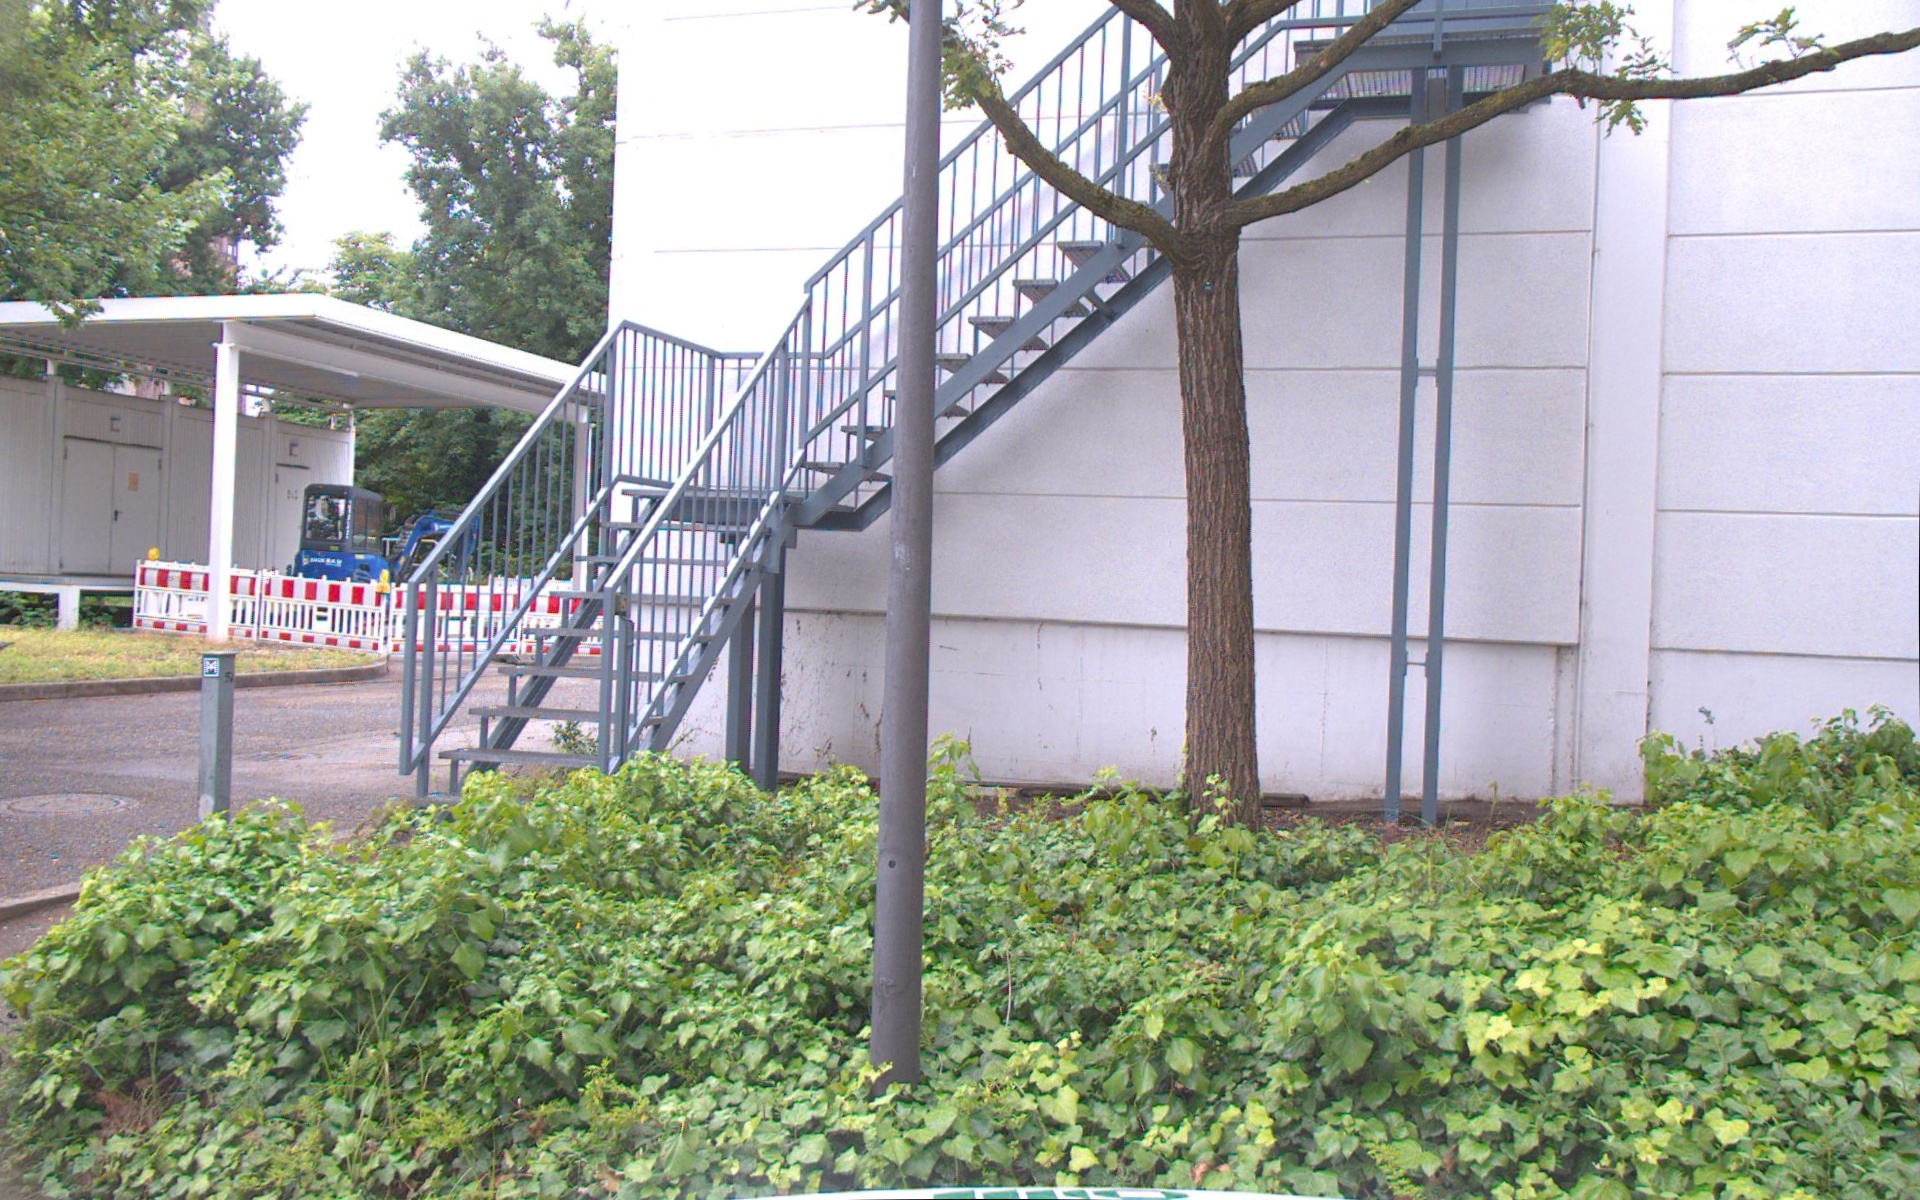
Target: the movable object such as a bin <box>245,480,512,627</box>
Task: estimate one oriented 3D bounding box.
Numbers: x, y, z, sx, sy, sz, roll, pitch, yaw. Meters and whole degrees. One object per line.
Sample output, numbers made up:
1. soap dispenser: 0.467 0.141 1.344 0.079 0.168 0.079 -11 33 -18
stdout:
1. movable object such as a bin: -9.641 -0.696 27.897 1.951 2.209 4.673 2 -1 14
